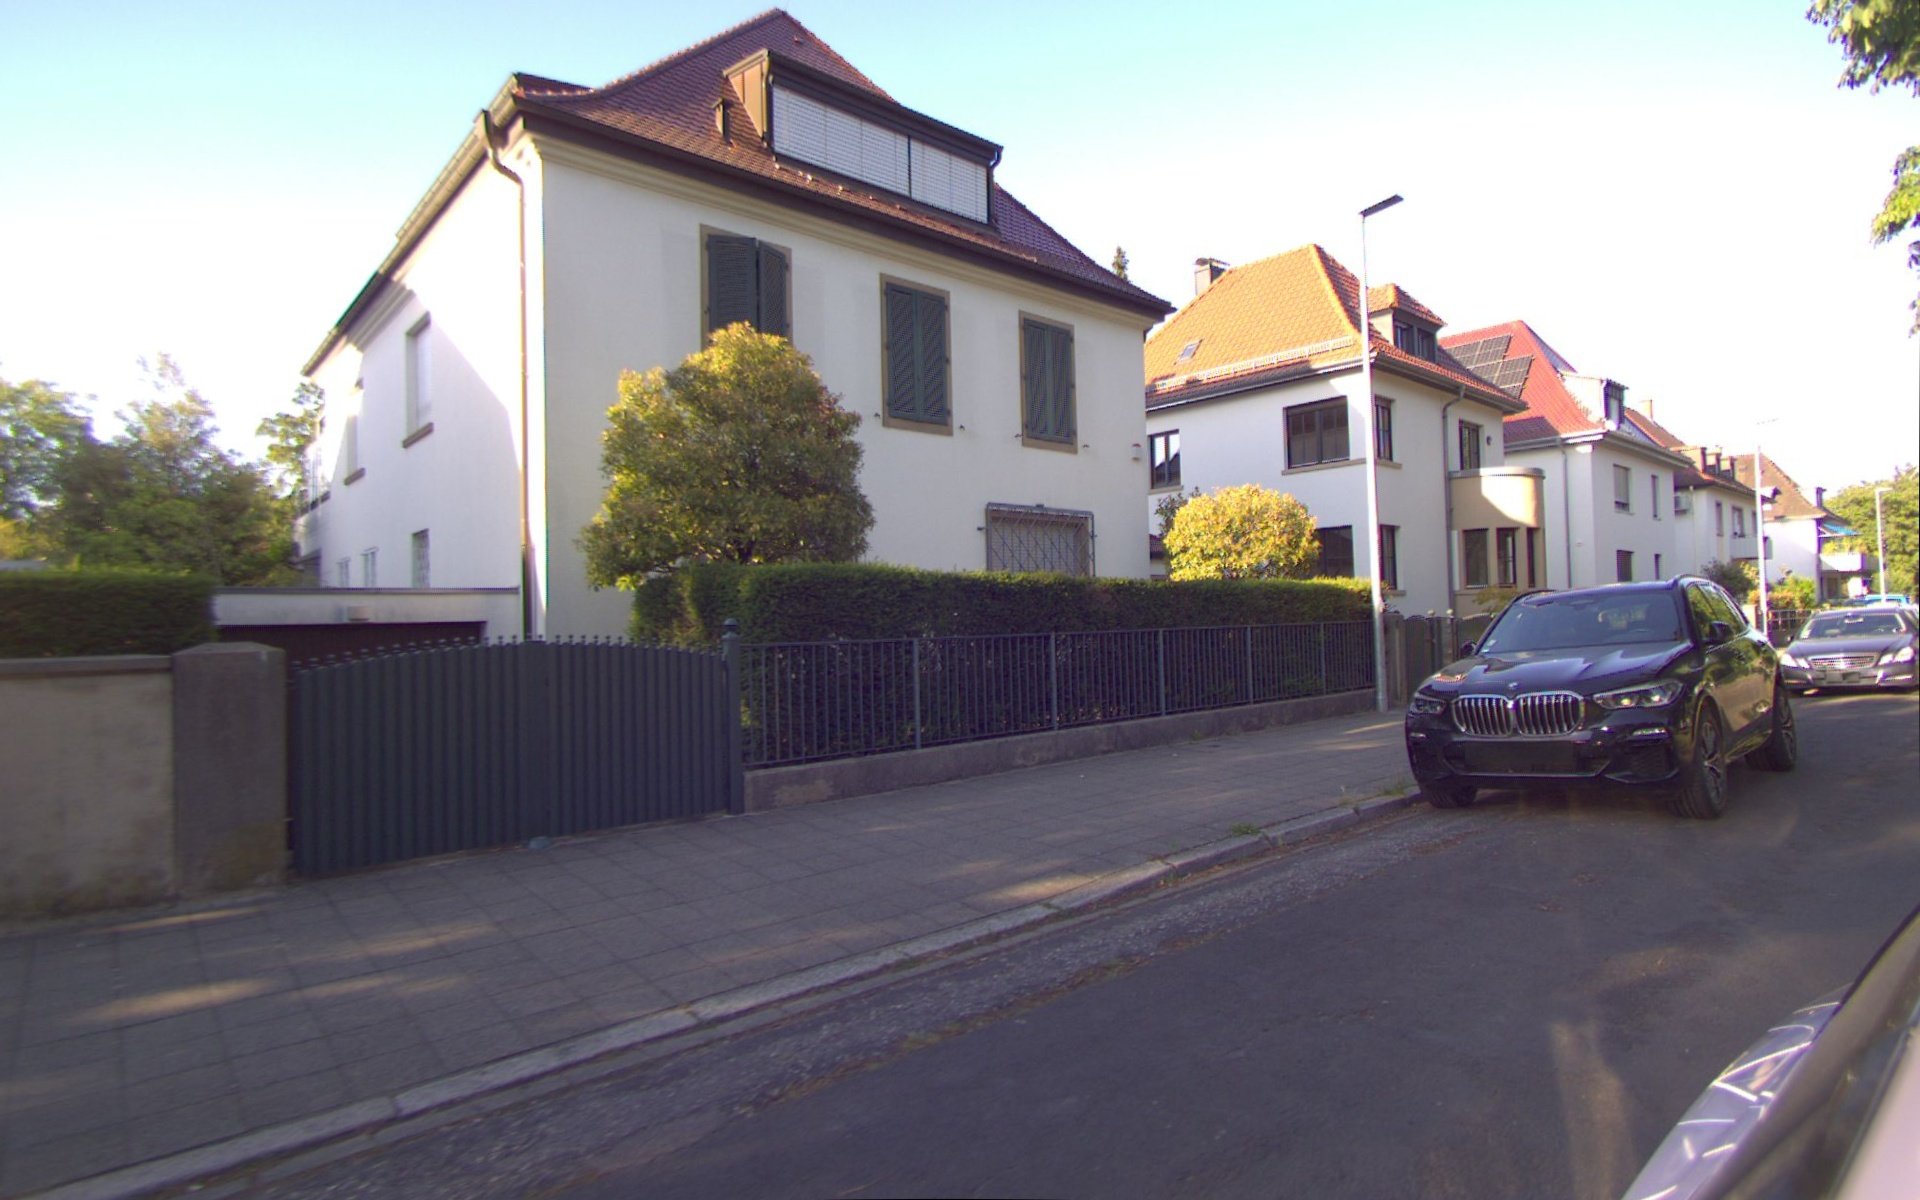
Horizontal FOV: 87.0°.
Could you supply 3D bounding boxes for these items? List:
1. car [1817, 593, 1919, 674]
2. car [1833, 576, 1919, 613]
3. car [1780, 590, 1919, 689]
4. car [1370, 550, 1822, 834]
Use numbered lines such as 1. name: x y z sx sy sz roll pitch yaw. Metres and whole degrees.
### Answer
1. car: 20.293 0.666 21.990 4.475 1.483 1.994 -1 -5 -44
2. car: 52.875 -0.296 58.077 1.967 1.953 3.988 -1 -2 -44
3. car: 15.953 0.623 17.630 4.515 1.482 1.781 -1 -4 -42
4. car: 5.630 0.616 8.659 4.782 1.760 1.995 -1 -4 -43
